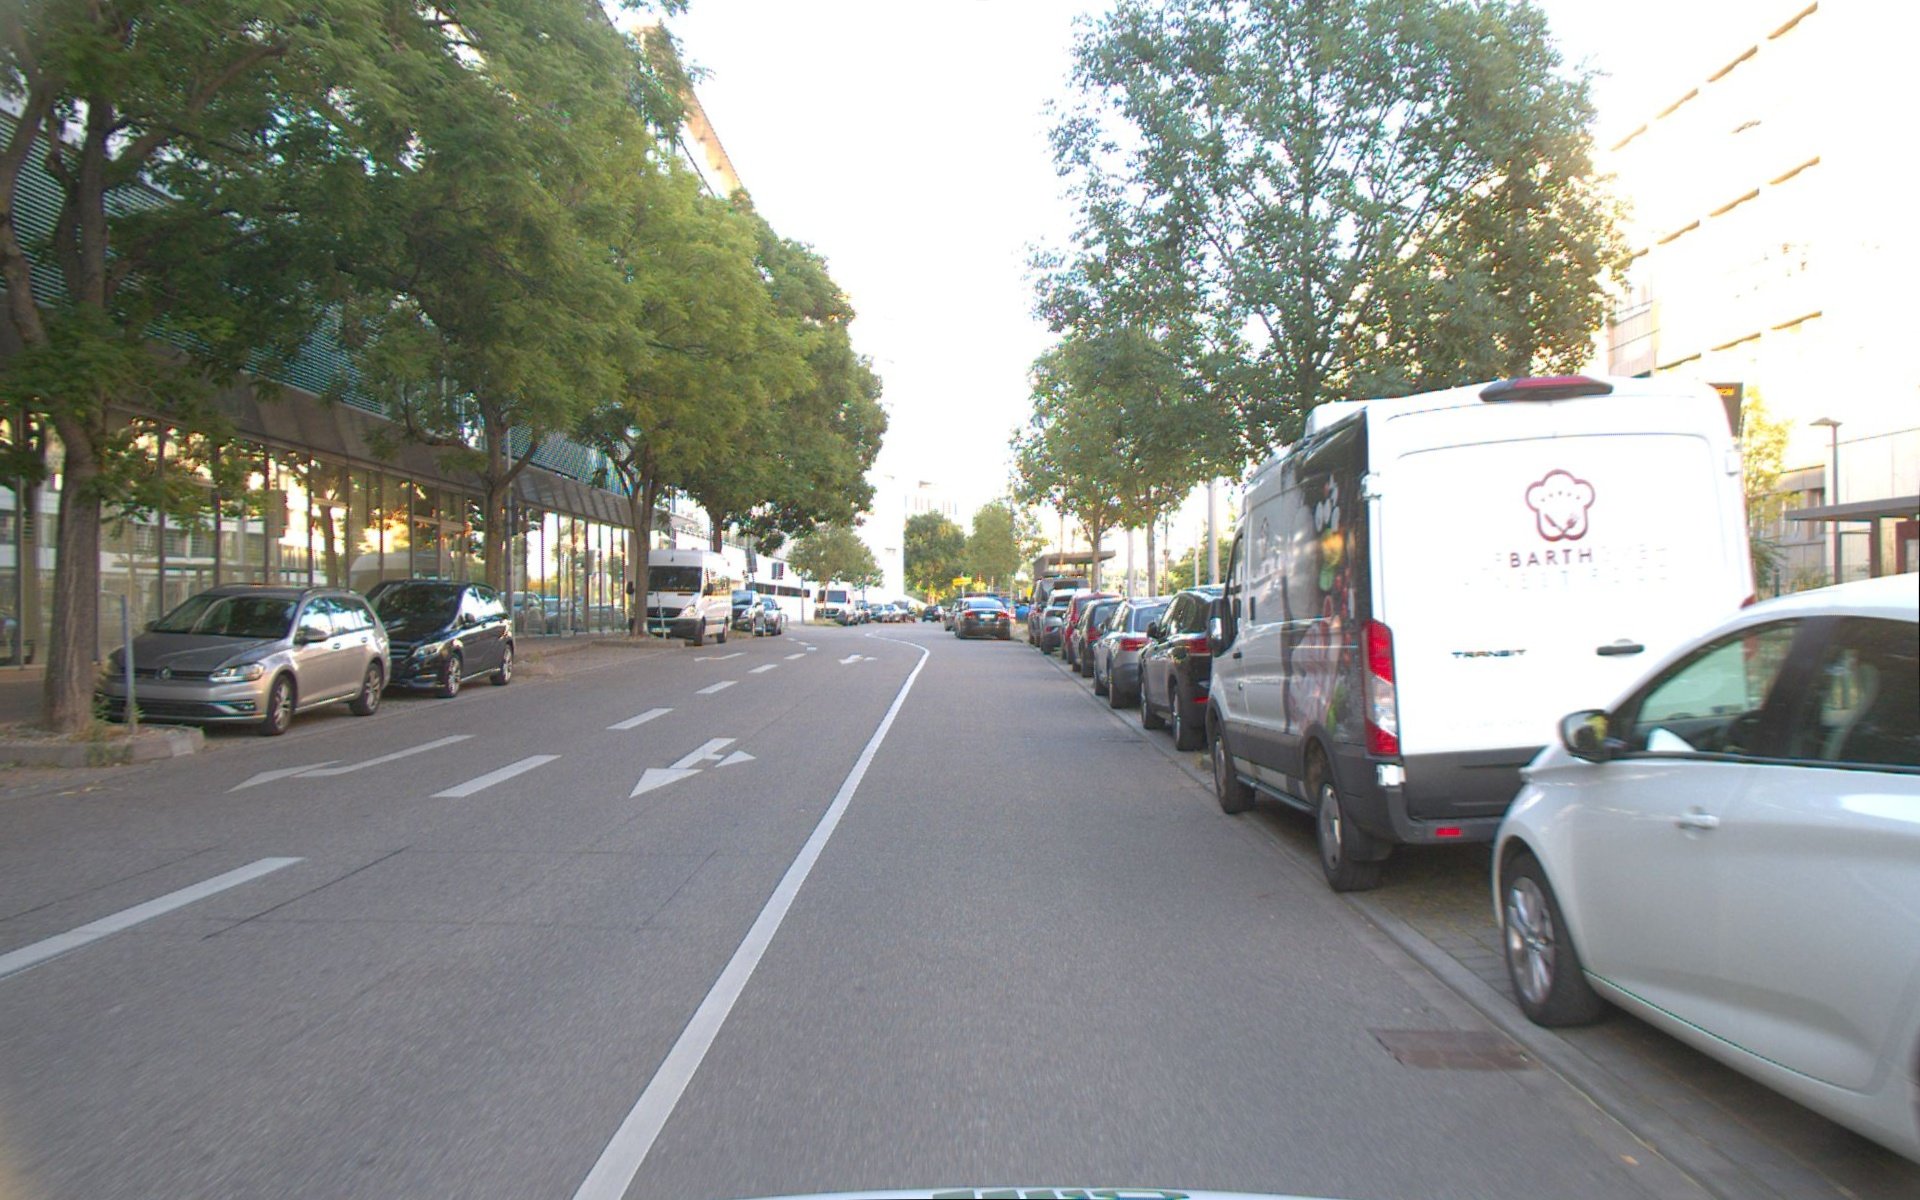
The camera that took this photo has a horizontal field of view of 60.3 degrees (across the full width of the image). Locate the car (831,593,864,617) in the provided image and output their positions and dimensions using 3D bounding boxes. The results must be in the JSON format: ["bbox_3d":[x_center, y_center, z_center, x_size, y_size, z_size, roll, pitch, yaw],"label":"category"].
[{"bbox_3d":[-7.152,0.321,105.455,1.720,1.465,3.901,2,0,0],"label":"car"}]

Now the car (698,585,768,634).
[{"bbox_3d":[-7.705,0.303,56.520,1.806,1.599,4.267,0,0,0],"label":"car"}]

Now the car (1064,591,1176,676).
[{"bbox_3d":[3.013,0.612,31.929,1.673,1.477,3.999,-2,0,-1],"label":"car"}]

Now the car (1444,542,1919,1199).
[{"bbox_3d":[2.954,0.632,4.729,1.713,1.611,4.011,-4,0,-3],"label":"car"}]

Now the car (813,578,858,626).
[{"bbox_3d":[-7.392,0.106,98.903,1.918,2.662,6.893,2,0,1],"label":"car"}]

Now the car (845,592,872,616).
[{"bbox_3d":[-7.382,0.282,120.290,1.720,1.682,3.948,2,0,-1],"label":"car"}]

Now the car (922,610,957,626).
[{"bbox_3d":[-1.848,1.638,149.506,1.903,1.407,4.402,2,0,16],"label":"car"}]

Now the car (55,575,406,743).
[{"bbox_3d":[-7.587,0.543,17.754,1.668,1.487,4.626,3,0,0],"label":"car"}]

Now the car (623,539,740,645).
[{"bbox_3d":[-7.629,-0.212,46.057,2.057,2.710,6.951,0,0,0],"label":"car"}]

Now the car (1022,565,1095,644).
[{"bbox_3d":[2.921,0.142,49.900,1.767,2.214,4.735,-2,0,-1],"label":"car"}]

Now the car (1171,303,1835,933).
[{"bbox_3d":[2.791,0.077,10.144,2.010,2.703,5.432,-4,0,-2],"label":"car"}]

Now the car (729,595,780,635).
[{"bbox_3d":[-7.708,0.539,62.403,1.681,1.477,4.395,0,0,-4],"label":"car"}]

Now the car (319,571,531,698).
[{"bbox_3d":[-7.560,0.445,23.813,1.557,1.596,4.471,3,0,0],"label":"car"}]

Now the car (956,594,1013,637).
[{"bbox_3d":[0.845,0.534,59.604,1.751,1.477,4.512,0,0,-3],"label":"car"}]

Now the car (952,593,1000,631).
[{"bbox_3d":[0.593,0.473,65.572,1.642,1.477,4.185,0,0,-3],"label":"car"}]

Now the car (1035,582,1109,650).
[{"bbox_3d":[2.896,0.403,43.415,1.672,1.608,4.479,-2,0,1],"label":"car"}]

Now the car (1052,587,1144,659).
[{"bbox_3d":[3.125,0.513,38.157,1.673,1.519,4.130,-2,0,-1],"label":"car"}]

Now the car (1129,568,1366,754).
[{"bbox_3d":[2.903,0.578,17.586,1.673,1.672,4.266,-2,0,-1],"label":"car"}]

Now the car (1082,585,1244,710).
[{"bbox_3d":[2.823,0.616,23.935,1.759,1.522,4.781,-4,0,1],"label":"car"}]

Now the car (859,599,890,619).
[{"bbox_3d":[-6.645,0.713,128.504,1.686,1.483,4.274,2,0,6],"label":"car"}]
